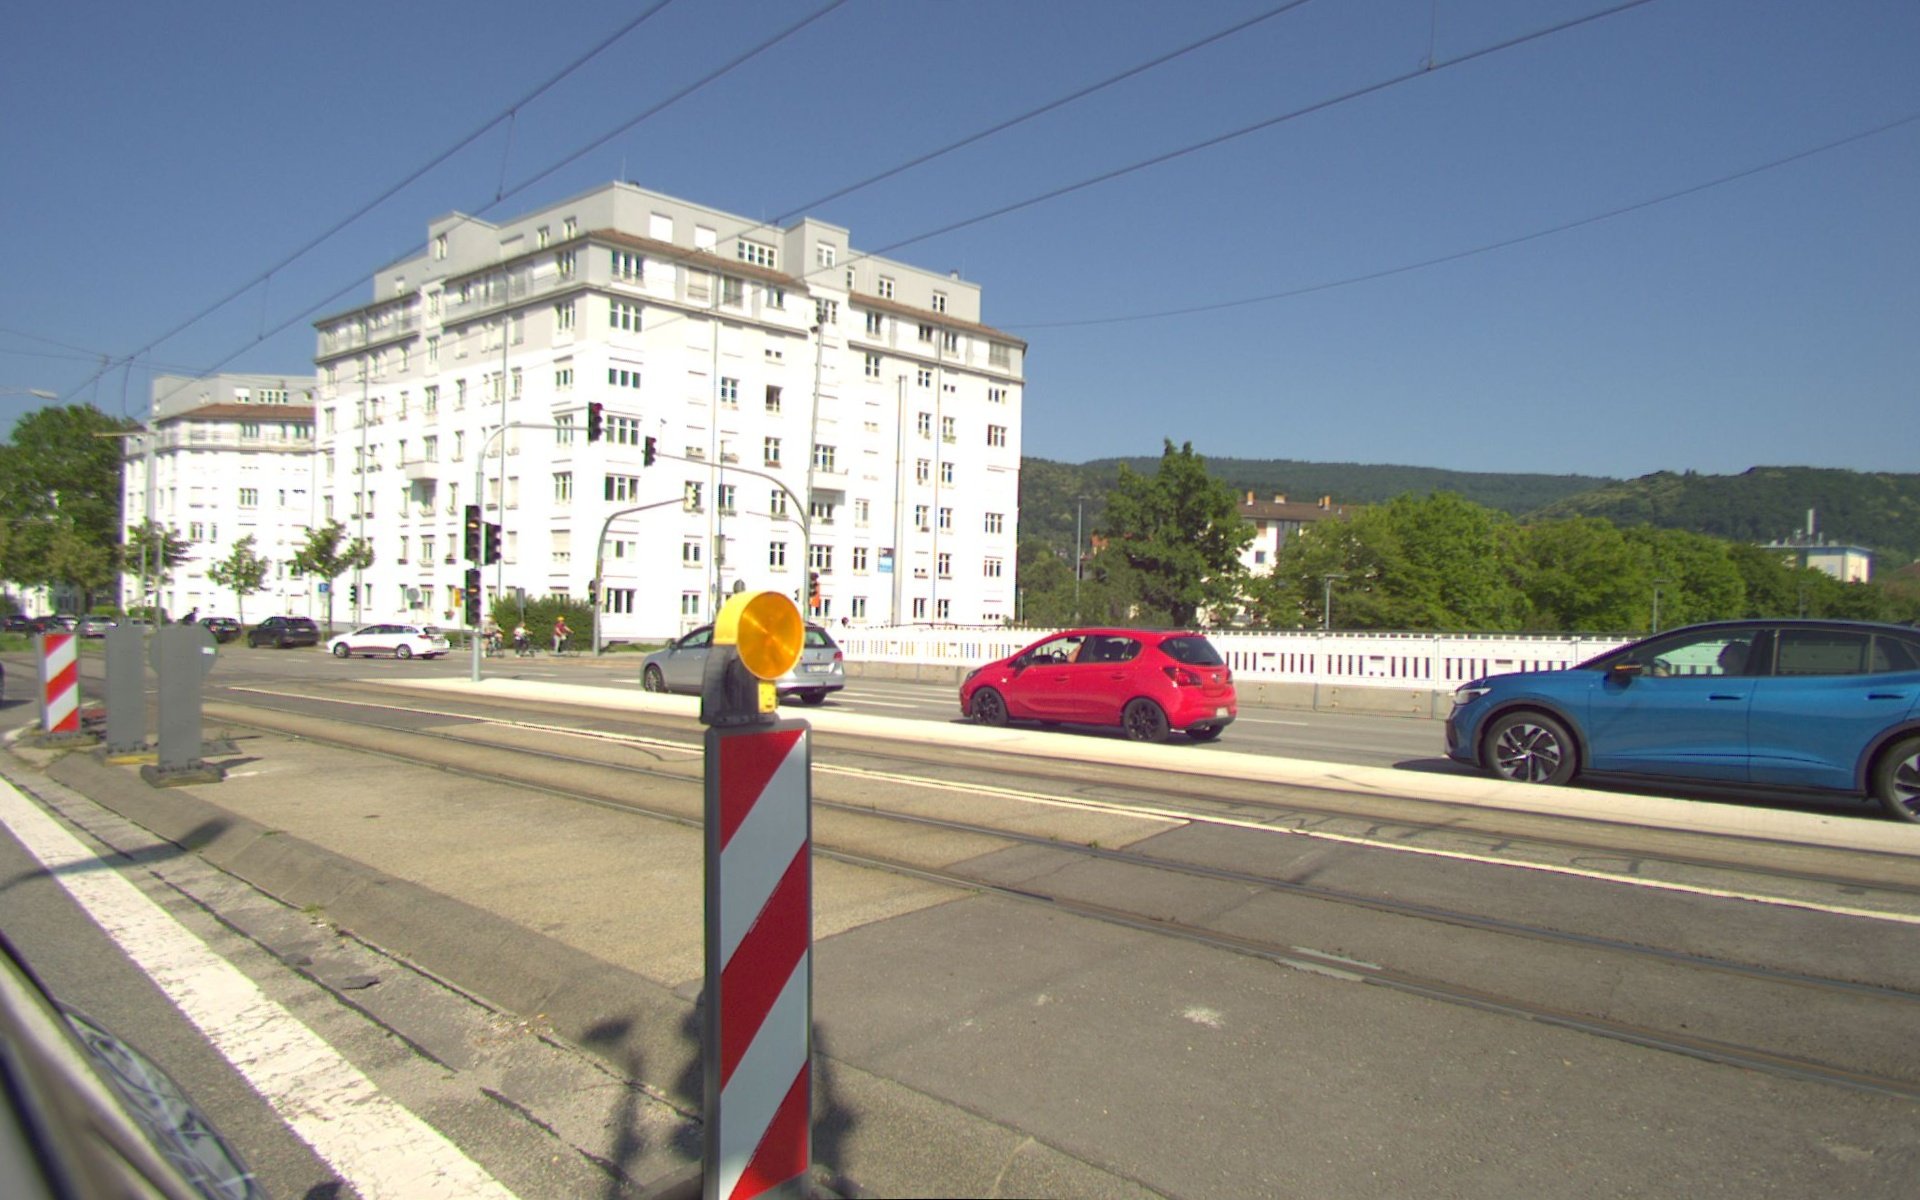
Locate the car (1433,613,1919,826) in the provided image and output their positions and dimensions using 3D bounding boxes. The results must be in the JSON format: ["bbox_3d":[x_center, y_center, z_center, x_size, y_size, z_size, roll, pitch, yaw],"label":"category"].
[{"bbox_3d":[6.785,0.925,8.843,4.553,1.562,1.652,0,-3,41],"label":"car"}]

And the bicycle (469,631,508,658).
[{"bbox_3d":[-20.434,1.930,43.882,1.779,1.108,0.612,0,-2,29],"label":"bicycle"}]

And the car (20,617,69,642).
[{"bbox_3d":[-57.234,1.830,63.266,3.655,1.504,1.575,0,-3,37],"label":"car"}]

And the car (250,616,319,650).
[{"bbox_3d":[-34.388,1.657,51.473,3.732,1.650,1.719,0,-1,36],"label":"car"}]

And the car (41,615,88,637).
[{"bbox_3d":[-64.200,1.831,72.534,3.732,1.496,1.719,0,-1,36],"label":"car"}]

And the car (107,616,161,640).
[{"bbox_3d":[-51.895,1.735,63.590,3.732,1.496,1.719,0,-1,36],"label":"car"}]

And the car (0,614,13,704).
[{"bbox_3d":[-15.131,0.922,14.080,1.674,1.419,4.637,-1,0,-28],"label":"car"}]

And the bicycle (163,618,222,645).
[{"bbox_3d":[-31.223,1.292,41.189,1.881,1.028,0.823,-1,-1,-37],"label":"bicycle"}]

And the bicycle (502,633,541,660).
[{"bbox_3d":[-19.099,1.999,44.075,1.778,1.107,0.622,0,0,28],"label":"bicycle"}]

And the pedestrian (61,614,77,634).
[{"bbox_3d":[-76.300,2.038,86.661,0.909,1.678,0.847,-1,-2,41],"label":"pedestrian"}]

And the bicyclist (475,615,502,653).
[{"bbox_3d":[-20.459,1.474,43.910,0.914,1.602,0.618,0,-1,29],"label":"bicyclist"}]

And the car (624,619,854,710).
[{"bbox_3d":[-4.120,1.097,18.421,4.641,1.448,1.620,-1,-3,41],"label":"car"}]

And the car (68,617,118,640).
[{"bbox_3d":[-58.503,1.911,68.270,3.732,1.496,1.719,0,-1,36],"label":"car"}]

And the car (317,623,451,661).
[{"bbox_3d":[-22.841,1.643,40.195,4.428,1.423,1.700,0,-1,4],"label":"car"}]

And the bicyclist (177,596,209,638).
[{"bbox_3d":[-31.235,0.686,41.211,0.993,1.666,0.811,-1,-2,-36],"label":"bicyclist"}]

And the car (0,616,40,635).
[{"bbox_3d":[-74.725,2.011,80.364,3.732,1.496,1.719,0,-1,36],"label":"car"}]

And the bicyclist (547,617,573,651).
[{"bbox_3d":[-17.527,1.488,44.347,0.912,1.489,0.593,0,-1,25],"label":"bicyclist"}]

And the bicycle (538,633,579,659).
[{"bbox_3d":[-17.588,2.011,44.364,1.804,1.108,0.599,0,-1,25],"label":"bicycle"}]

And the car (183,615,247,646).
[{"bbox_3d":[-41.444,1.674,56.275,3.730,1.650,1.720,0,-1,34],"label":"car"}]

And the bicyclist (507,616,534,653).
[{"bbox_3d":[-19.155,1.502,44.116,0.913,1.591,0.618,0,-1,28],"label":"bicyclist"}]

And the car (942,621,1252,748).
[{"bbox_3d":[1.750,1.042,13.695,3.978,1.448,1.518,0,-3,41],"label":"car"}]
